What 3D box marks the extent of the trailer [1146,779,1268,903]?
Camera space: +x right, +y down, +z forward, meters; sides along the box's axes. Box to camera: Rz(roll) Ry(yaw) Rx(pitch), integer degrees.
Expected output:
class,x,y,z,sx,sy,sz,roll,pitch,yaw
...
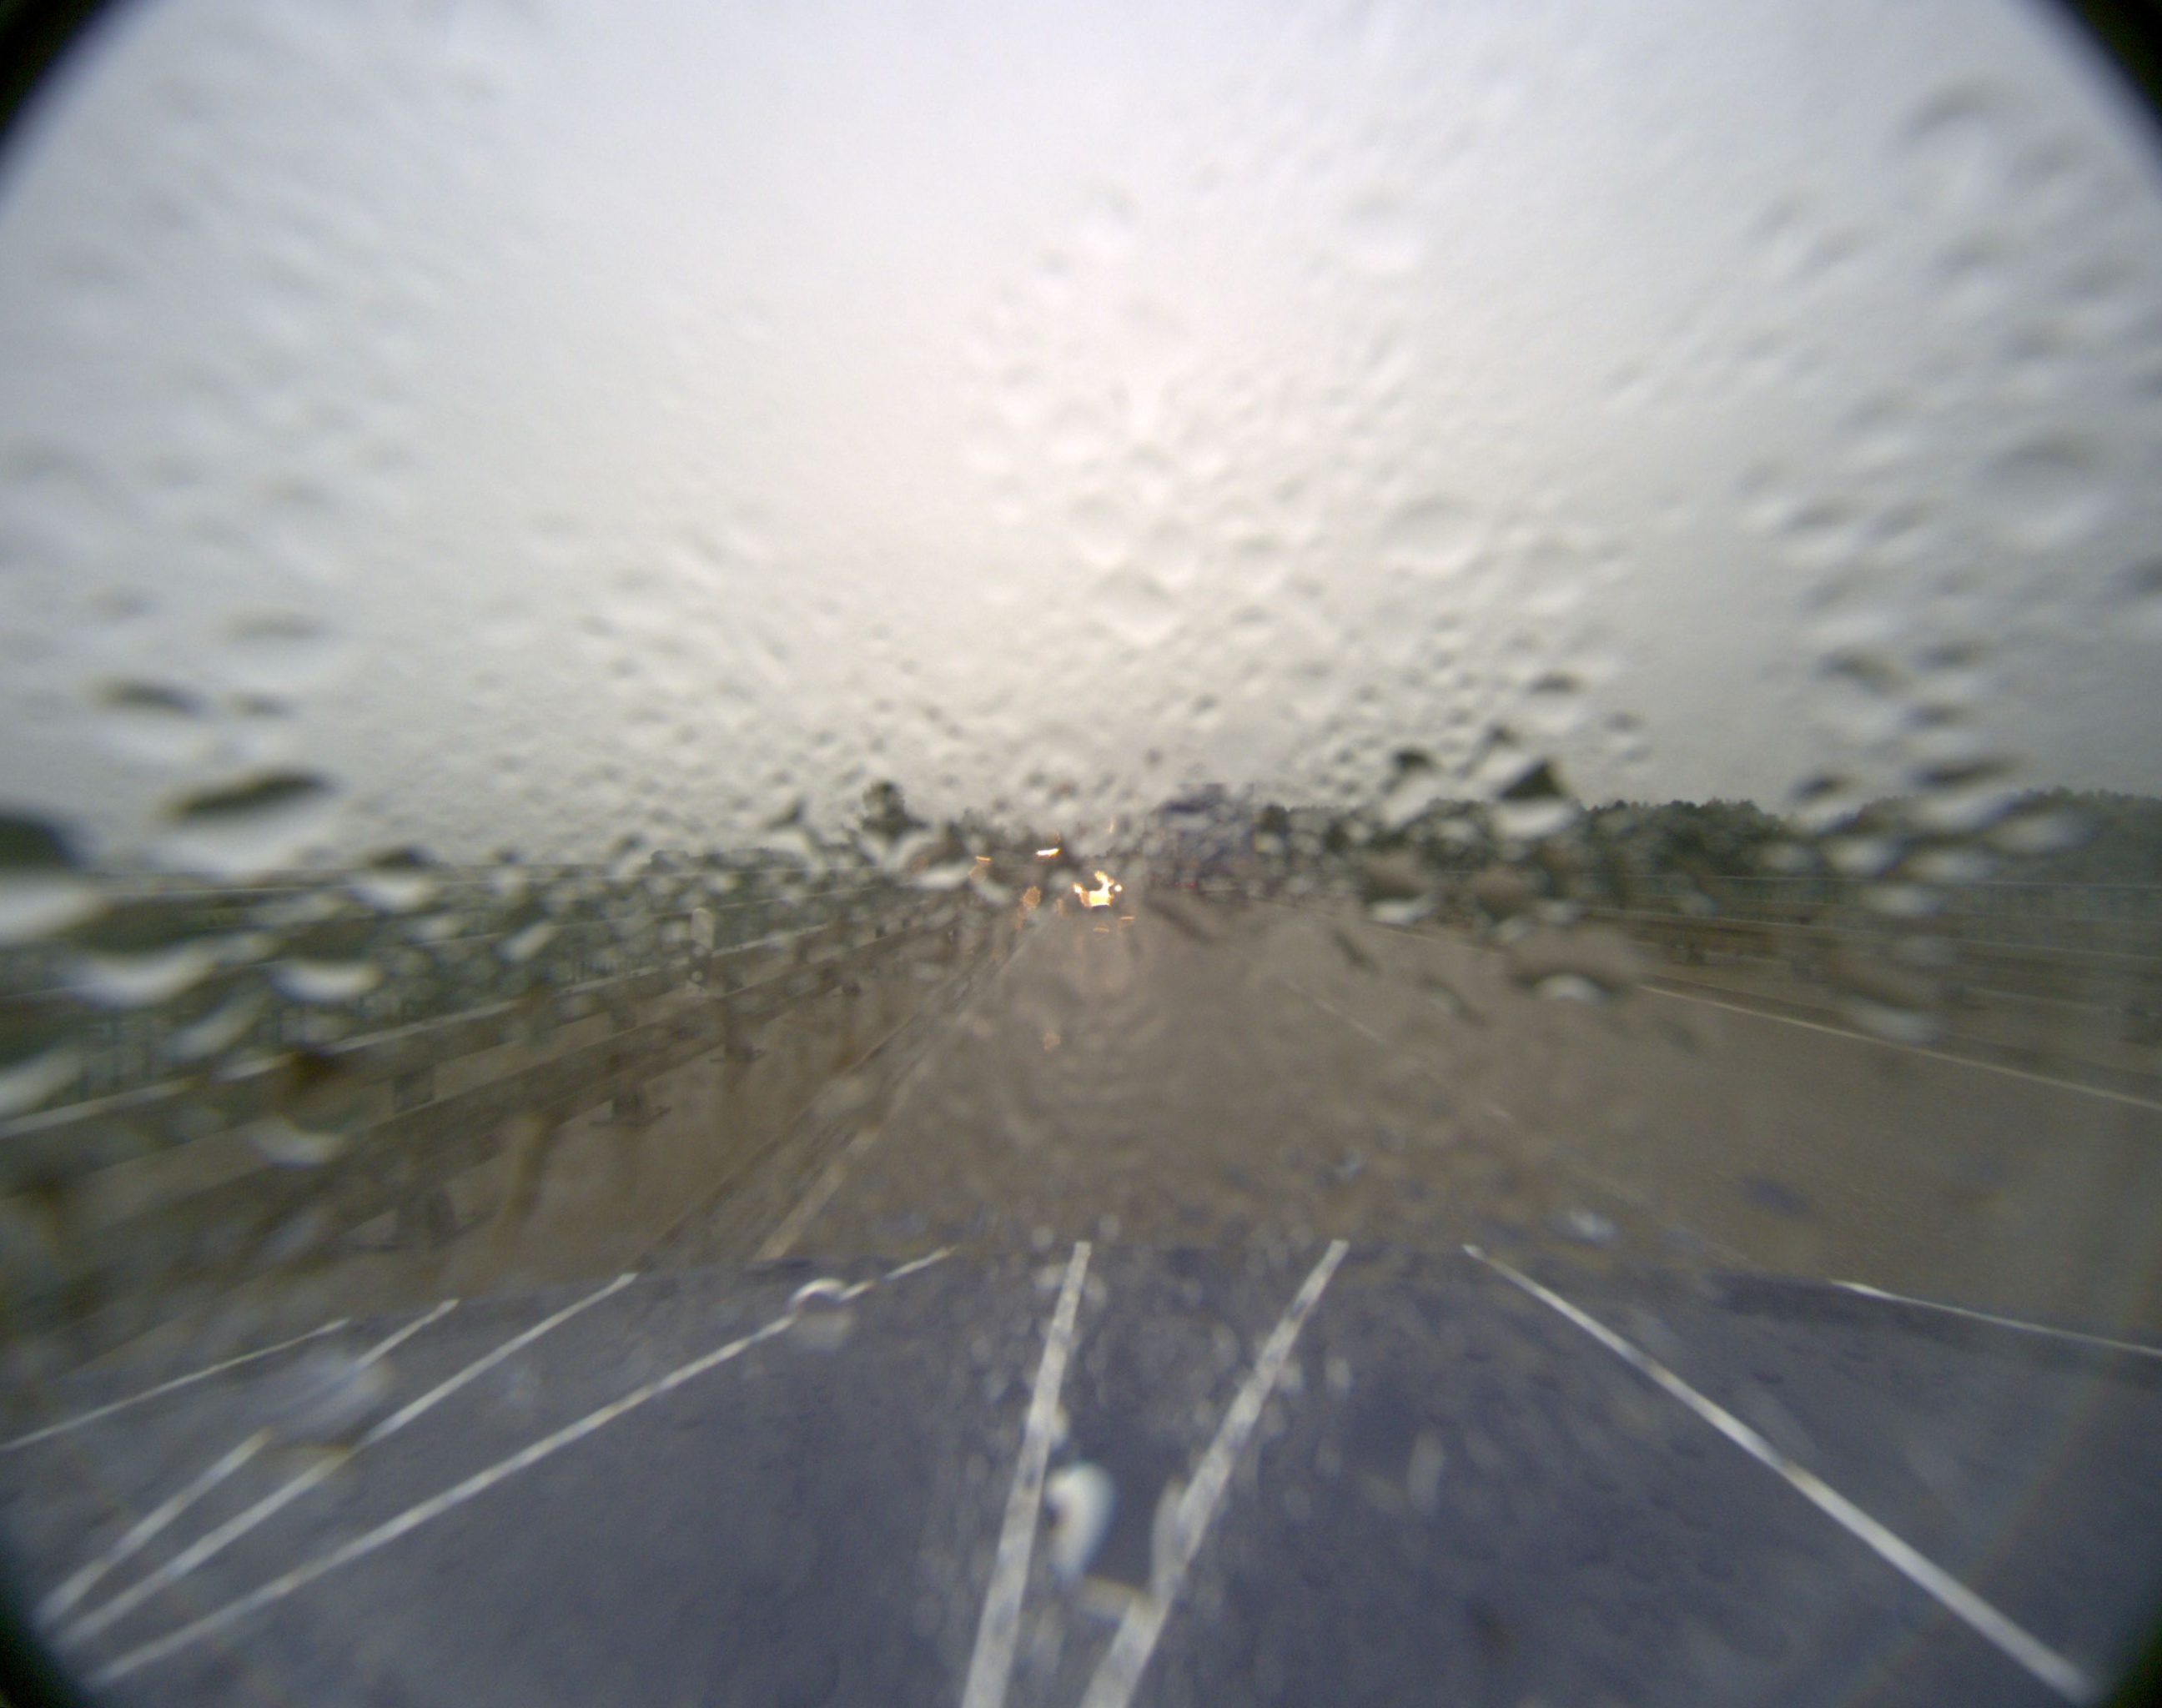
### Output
class,x,y,z,sx,sy,sz,roll,pitch,yaw
trailer,4.648,-0.352,31.454,2.825,3.946,13.737,-1,0,1

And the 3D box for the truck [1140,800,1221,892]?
class,x,y,z,sx,sy,sz,roll,pitch,yaw
truck,4.699,-0.312,37.614,2.825,3.946,8.764,-1,0,1

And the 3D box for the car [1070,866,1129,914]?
class,x,y,z,sx,sy,sz,roll,pitch,yaw
car,0.626,1.178,26.266,1.819,1.382,4.069,-3,0,1
